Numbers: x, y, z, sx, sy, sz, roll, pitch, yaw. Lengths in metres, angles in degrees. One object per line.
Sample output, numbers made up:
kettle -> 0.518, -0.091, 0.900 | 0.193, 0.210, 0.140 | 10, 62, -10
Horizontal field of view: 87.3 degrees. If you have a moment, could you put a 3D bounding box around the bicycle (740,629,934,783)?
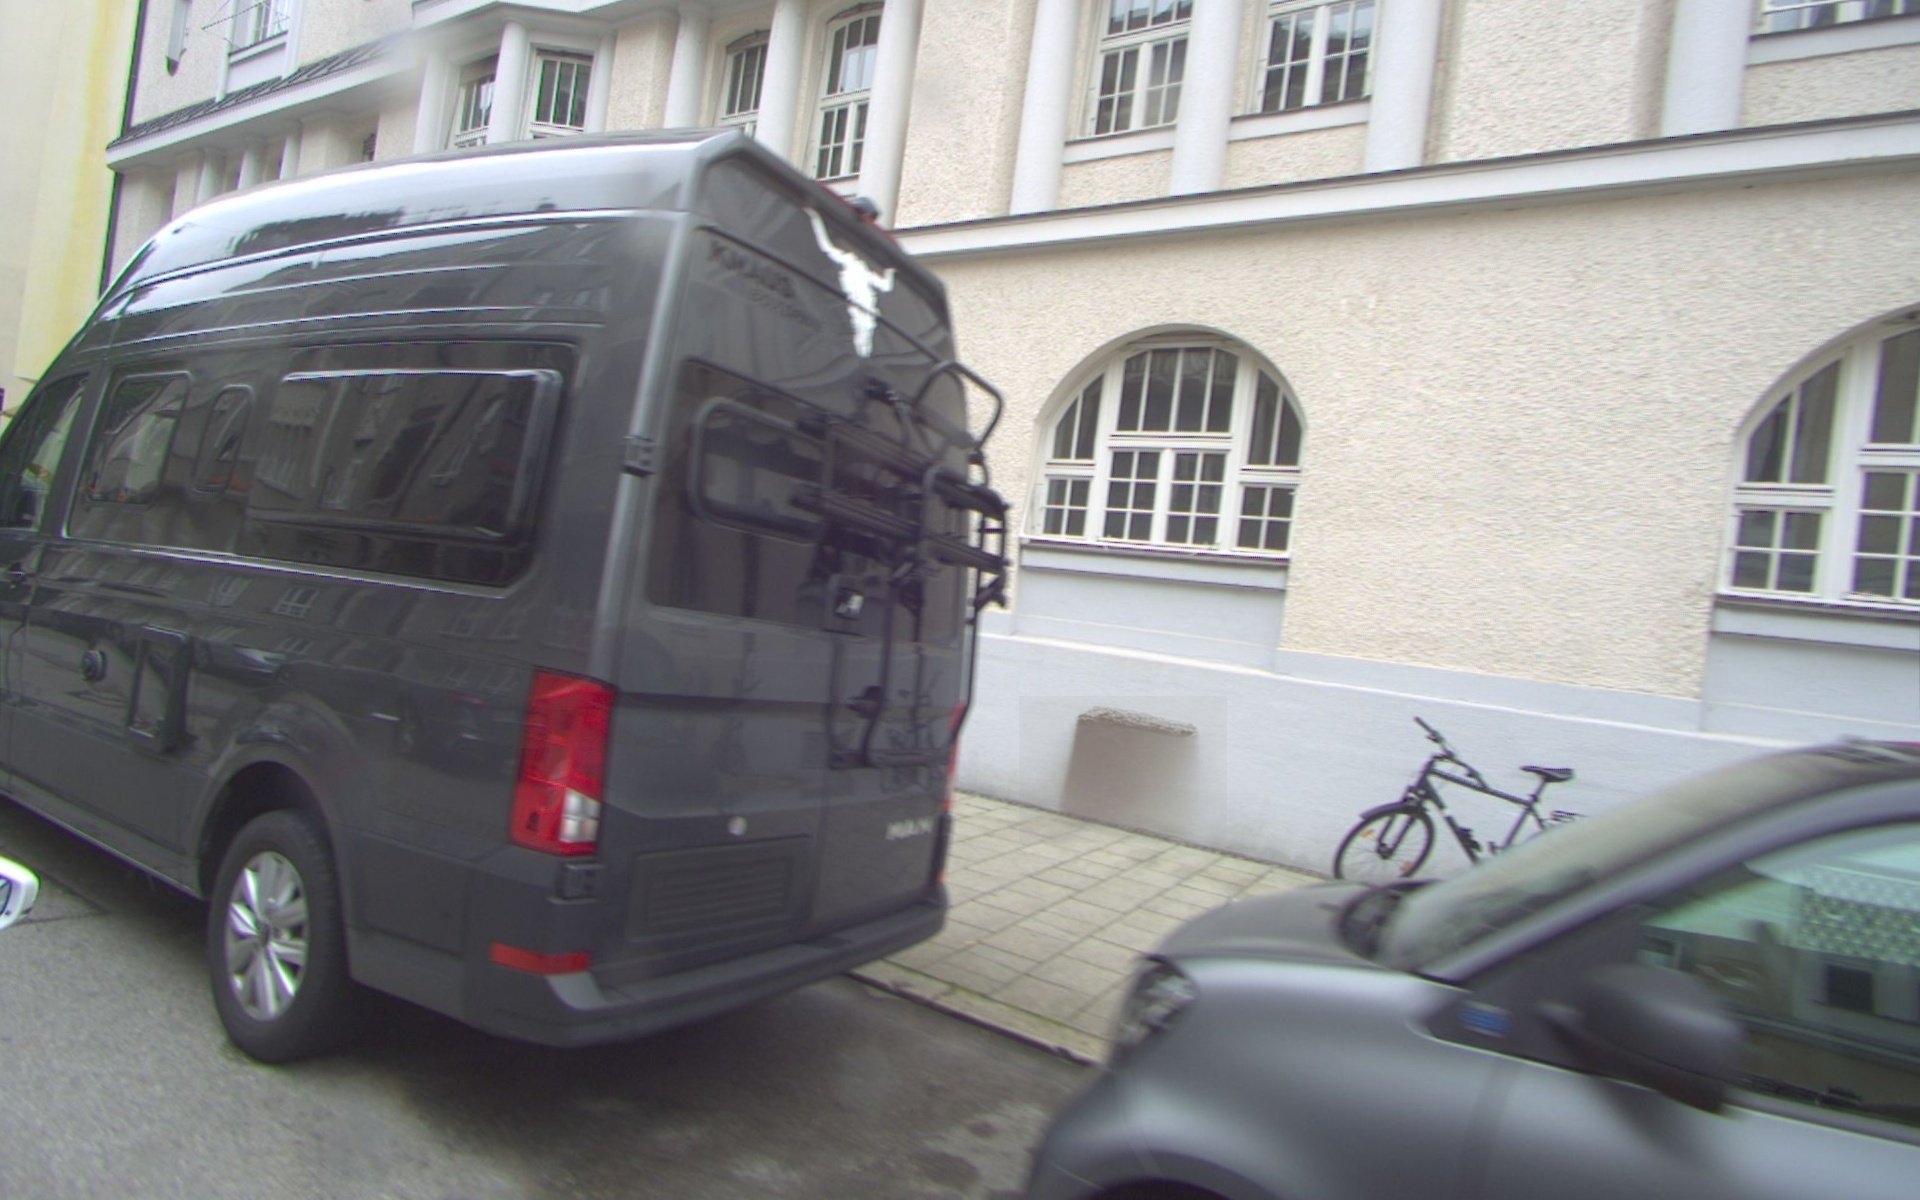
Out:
bicycle -> -1.122, 0.898, 8.921 | 1.758, 1.083, 0.389 | 7, 1, 32

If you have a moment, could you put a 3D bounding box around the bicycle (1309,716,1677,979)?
bicycle -> 3.127, 1.390, 6.031 | 1.758, 1.083, 0.651 | 7, 2, 32

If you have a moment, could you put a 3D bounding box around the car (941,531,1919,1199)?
car -> 1.576, 0.889, 1.759 | 2.771, 1.644, 1.544 | 6, -2, 35

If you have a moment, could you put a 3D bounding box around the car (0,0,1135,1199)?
car -> -2.596, -0.230, 4.636 | 6.031, 2.993, 2.260 | 6, -3, 31

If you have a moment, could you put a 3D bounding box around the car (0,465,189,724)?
car -> -8.351, -0.263, 7.925 | 4.597, 1.707, 1.998 | 7, -3, 32
